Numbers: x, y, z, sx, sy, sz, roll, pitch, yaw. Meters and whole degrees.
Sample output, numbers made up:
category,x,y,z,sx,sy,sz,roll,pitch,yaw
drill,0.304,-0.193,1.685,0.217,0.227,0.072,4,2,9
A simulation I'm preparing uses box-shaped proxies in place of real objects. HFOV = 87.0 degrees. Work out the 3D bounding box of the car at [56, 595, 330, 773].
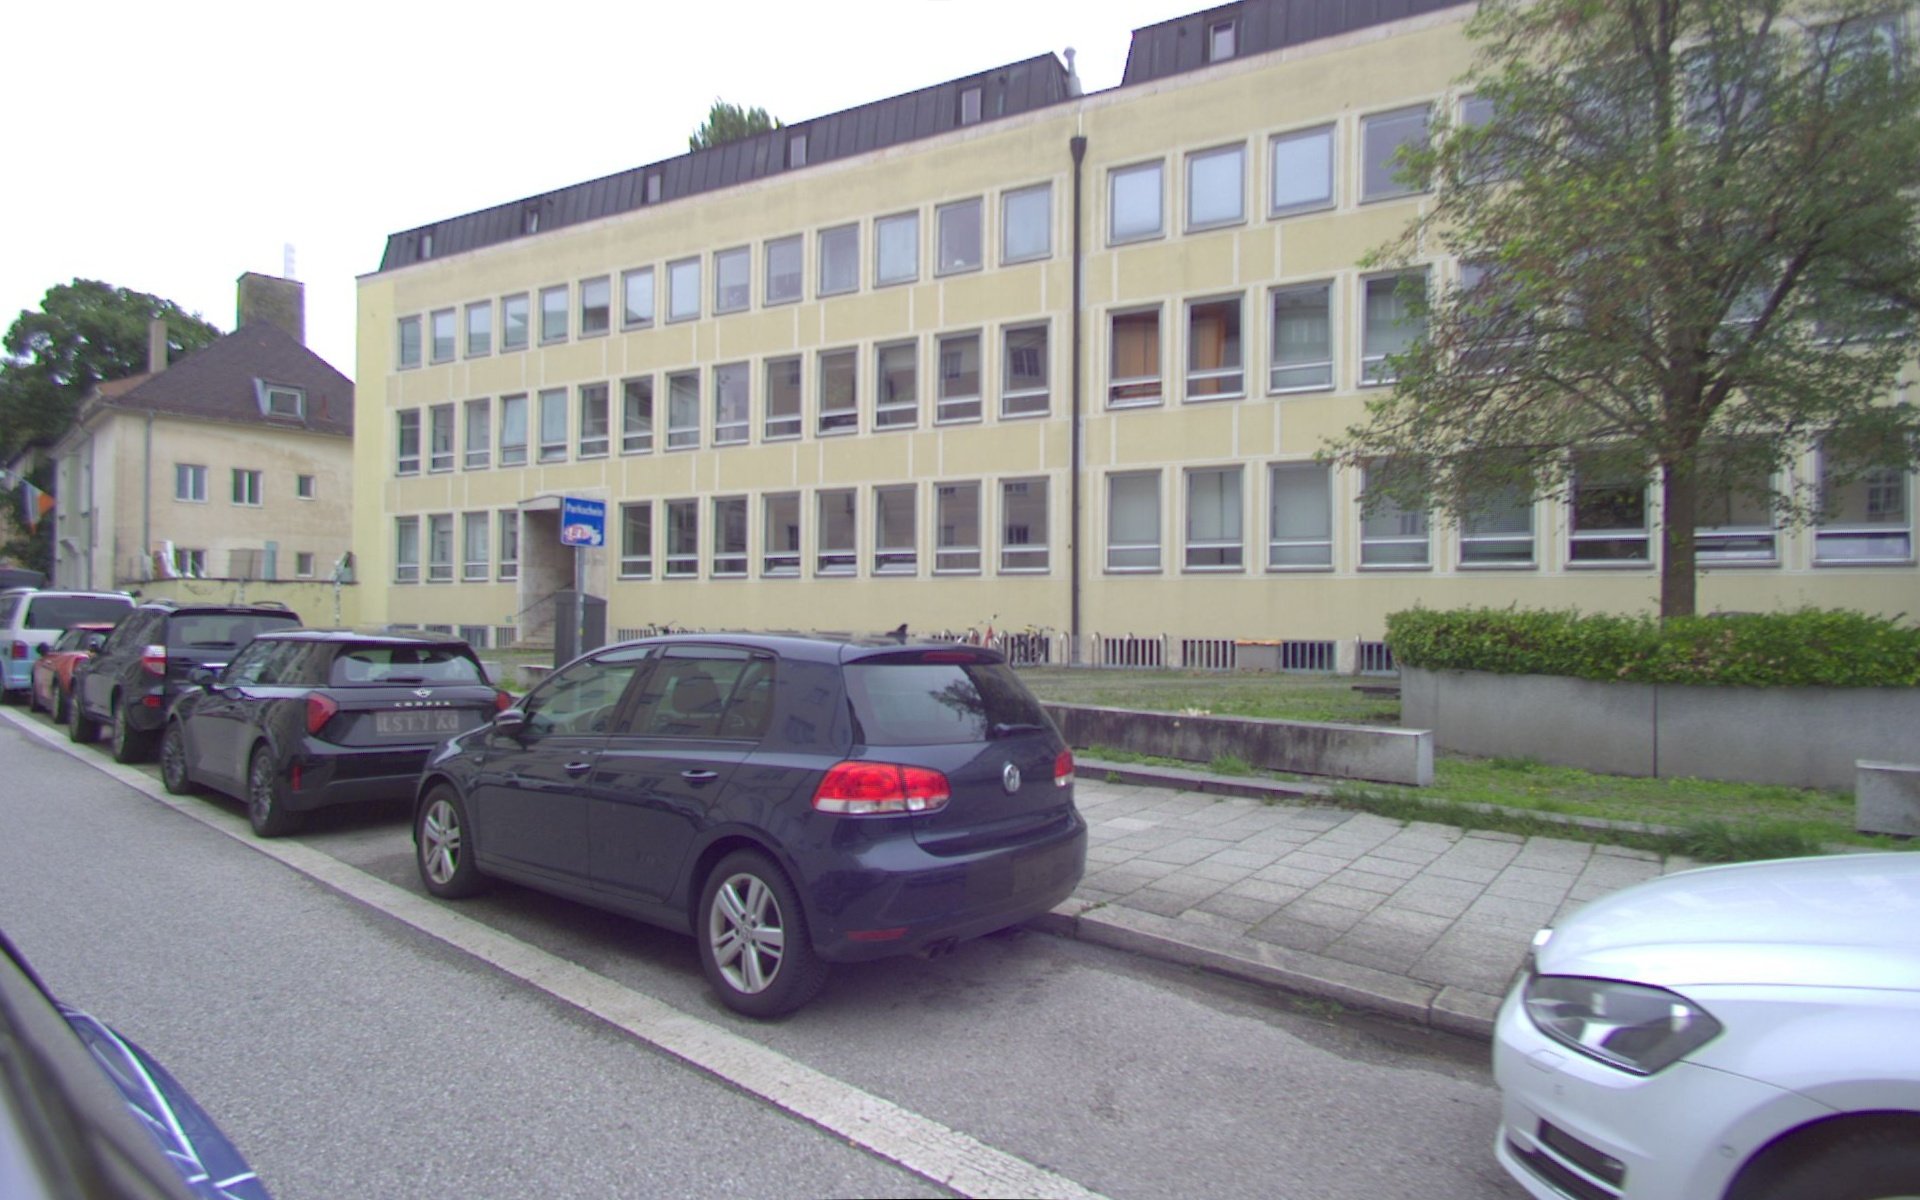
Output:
category,x,y,z,sx,sy,sz,roll,pitch,yaw
car,-8.965,0.868,11.705,4.139,1.702,1.696,-1,-3,41

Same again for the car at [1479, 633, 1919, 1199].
category,x,y,z,sx,sy,sz,roll,pitch,yaw
car,3.278,0.801,1.412,4.290,1.433,1.723,-1,-4,40

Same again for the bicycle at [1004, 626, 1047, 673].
category,x,y,z,sx,sy,sz,roll,pitch,yaw
bicycle,1.473,1.087,22.533,0.412,0.952,1.398,-1,0,28

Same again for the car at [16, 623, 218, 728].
category,x,y,z,sx,sy,sz,roll,pitch,yaw
car,-12.978,1.089,15.525,3.707,1.417,1.785,-1,-4,42

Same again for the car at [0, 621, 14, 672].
category,x,y,z,sx,sy,sz,roll,pitch,yaw
car,-30.279,1.364,30.769,3.904,1.508,1.636,-1,-3,39

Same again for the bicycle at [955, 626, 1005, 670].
category,x,y,z,sx,sy,sz,roll,pitch,yaw
bicycle,0.470,1.098,23.650,0.414,0.952,1.393,-1,0,38

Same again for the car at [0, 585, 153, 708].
category,x,y,z,sx,sy,sz,roll,pitch,yaw
car,-16.670,0.841,18.559,4.956,1.975,1.896,-2,-3,39

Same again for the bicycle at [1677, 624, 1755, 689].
category,x,y,z,sx,sy,sz,roll,pitch,yaw
bicycle,12.379,0.904,16.625,0.499,0.952,1.600,-1,0,17

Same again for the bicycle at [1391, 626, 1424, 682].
category,x,y,z,sx,sy,sz,roll,pitch,yaw
bicycle,8.364,0.995,18.937,0.500,0.952,1.597,-1,0,22

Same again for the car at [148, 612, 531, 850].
category,x,y,z,sx,sy,sz,roll,pitch,yaw
car,-5.223,0.878,8.320,3.818,1.506,1.613,-1,-2,41

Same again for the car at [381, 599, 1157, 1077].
category,x,y,z,sx,sy,sz,roll,pitch,yaw
car,-1.217,0.820,5.158,4.096,1.506,1.614,-1,-4,39

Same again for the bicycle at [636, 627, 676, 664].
category,x,y,z,sx,sy,sz,roll,pitch,yaw
bicycle,-8.344,1.230,27.822,0.410,0.952,1.406,-1,0,12

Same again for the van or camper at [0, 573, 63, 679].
category,x,y,z,sx,sy,sz,roll,pitch,yaw
van or camper,-26.234,0.700,27.434,5.561,2.671,2.267,-1,-3,43
